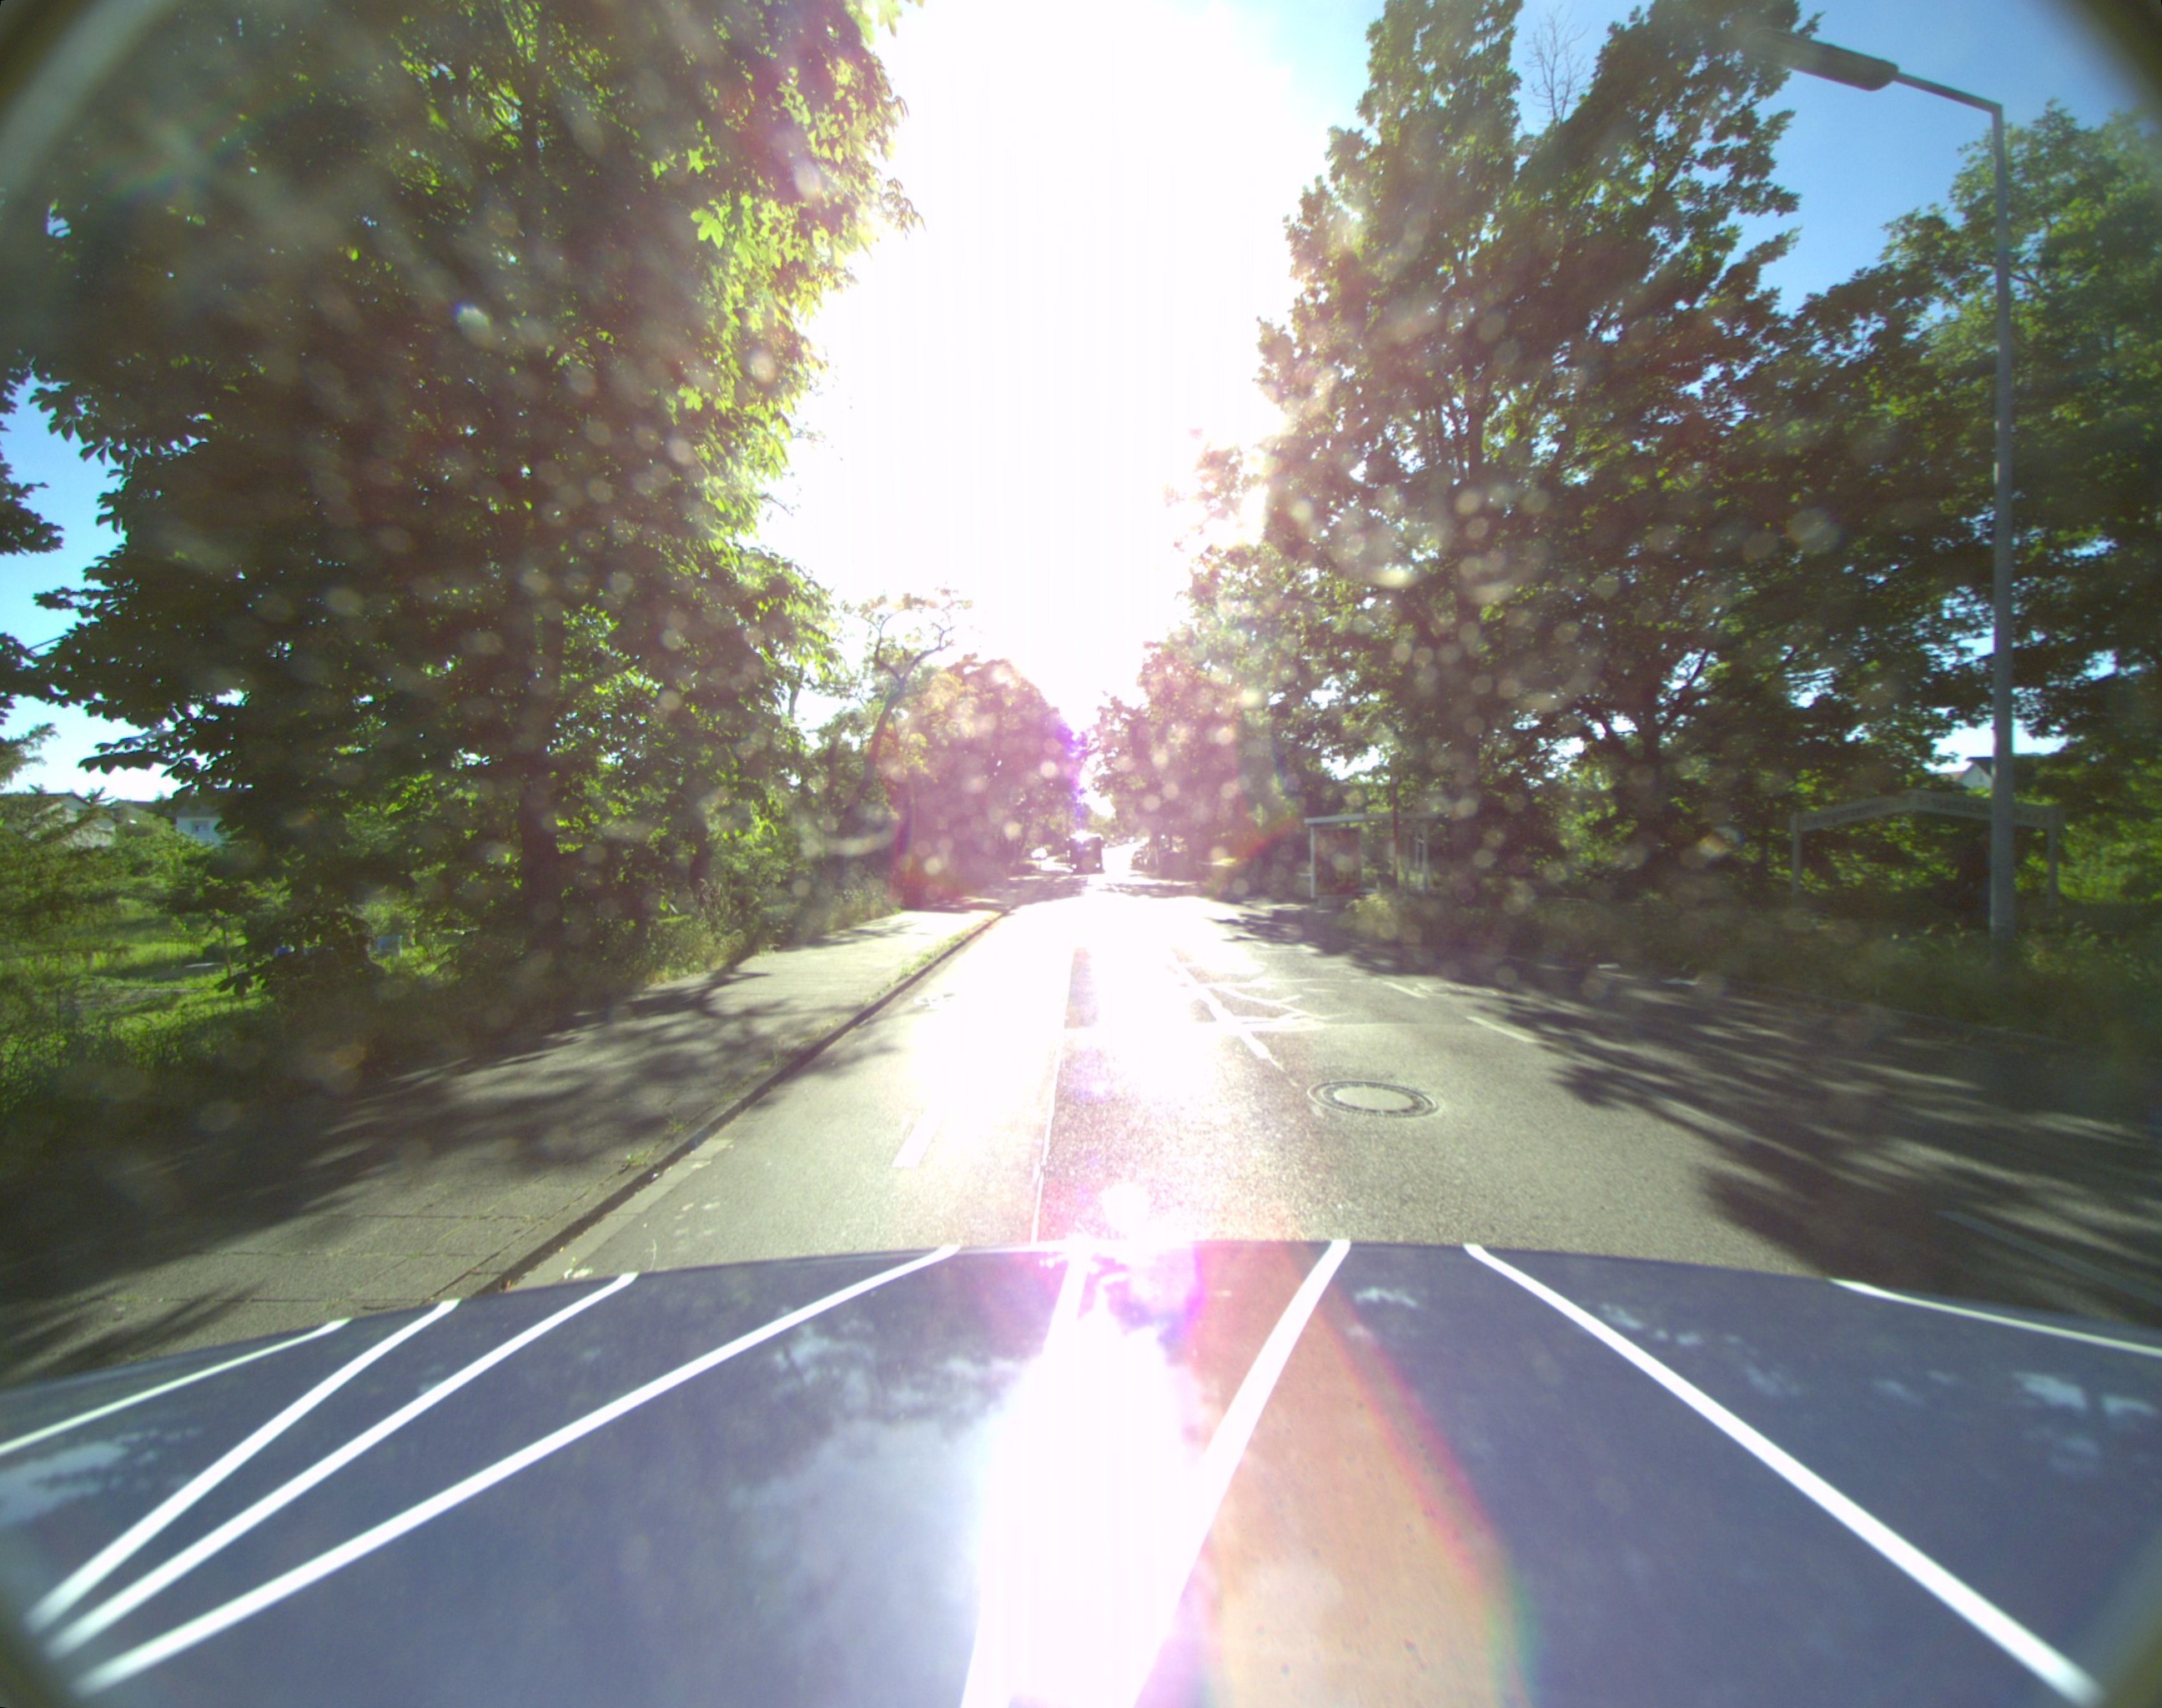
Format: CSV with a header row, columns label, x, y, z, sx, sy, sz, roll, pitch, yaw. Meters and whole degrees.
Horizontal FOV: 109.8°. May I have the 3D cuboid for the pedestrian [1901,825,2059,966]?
label,x,y,z,sx,sy,sz,roll,pitch,yaw
pedestrian,11.385,0.501,9.660,0.915,1.678,0.891,-2,0,2

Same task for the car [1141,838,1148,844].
label,x,y,z,sx,sy,sz,roll,pitch,yaw
car,17.696,-3.627,212.382,1.817,1.769,3.903,-2,1,1

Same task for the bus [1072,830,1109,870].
label,x,y,z,sx,sy,sz,roll,pitch,yaw
bus,0.659,-0.311,64.847,2.790,2.965,12.893,-2,0,-1
